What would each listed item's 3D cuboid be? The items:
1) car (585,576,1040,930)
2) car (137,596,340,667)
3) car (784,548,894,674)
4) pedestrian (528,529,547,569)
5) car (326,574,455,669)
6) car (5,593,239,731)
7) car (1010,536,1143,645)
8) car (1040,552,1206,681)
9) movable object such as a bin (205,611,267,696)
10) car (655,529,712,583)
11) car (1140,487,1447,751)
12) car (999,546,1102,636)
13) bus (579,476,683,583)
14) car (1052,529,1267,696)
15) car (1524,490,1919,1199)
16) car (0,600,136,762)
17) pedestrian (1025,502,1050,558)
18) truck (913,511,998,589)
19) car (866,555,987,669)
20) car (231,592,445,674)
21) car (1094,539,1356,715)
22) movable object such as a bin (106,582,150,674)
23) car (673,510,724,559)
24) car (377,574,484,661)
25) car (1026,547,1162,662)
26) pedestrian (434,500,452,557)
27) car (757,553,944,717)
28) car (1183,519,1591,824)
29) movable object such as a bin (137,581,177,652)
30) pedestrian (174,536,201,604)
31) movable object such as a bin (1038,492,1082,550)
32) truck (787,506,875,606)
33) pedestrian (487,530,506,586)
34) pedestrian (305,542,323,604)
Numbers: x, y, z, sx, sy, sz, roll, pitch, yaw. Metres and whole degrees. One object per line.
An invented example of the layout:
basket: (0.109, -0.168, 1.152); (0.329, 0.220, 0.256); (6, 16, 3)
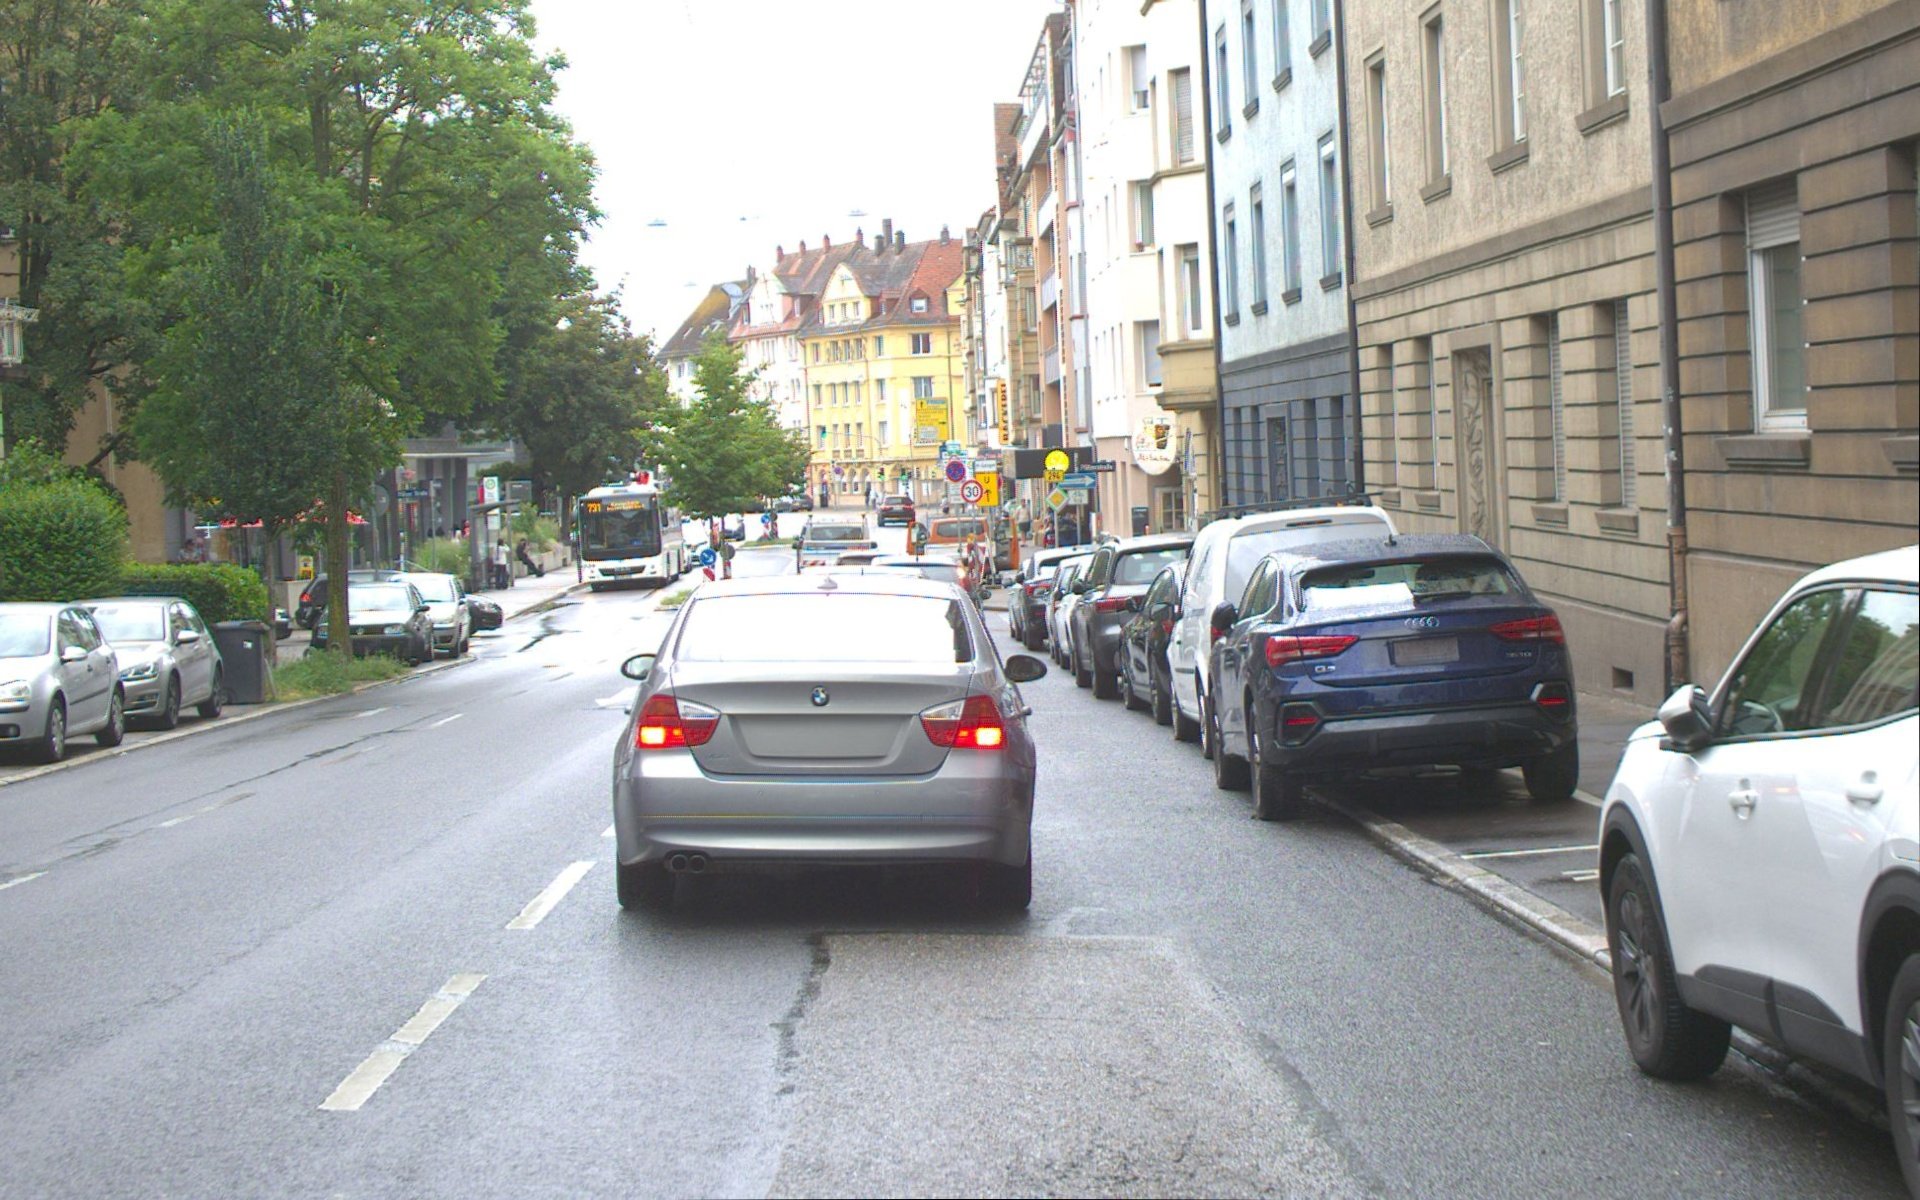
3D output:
car: (-0.613, 0.595, 14.971); (1.756, 1.358, 3.165); (-1, 0, -1)
car: (-14.740, 0.641, 70.338); (3.815, 1.385, 1.743); (-1, 0, -2)
car: (-2.051, 0.181, 57.441); (1.705, 2.007, 4.000); (1, 0, -4)
pedestrian: (-14.910, -1.804, 121.333); (0.619, 1.373, 0.544); (1, 0, 0)
car: (-9.547, 0.339, 57.856); (1.653, 1.449, 3.943); (-2, 1, -3)
car: (-9.350, 0.658, 38.615); (1.682, 1.385, 3.936); (-1, 1, -1)
car: (1.821, -0.180, 54.841); (1.818, 1.552, 4.293); (-4, 1, -1)
car: (2.050, 0.177, 44.257); (1.729, 1.424, 3.974); (-5, 1, -2)
movable object such as a bin: (-9.196, 0.675, 43.683); (0.630, 1.054, 0.600); (-2, 0, -1)
car: (-10.594, -1.664, 131.878); (1.993, 2.007, 4.000); (0, 0, -2)
car: (2.526, 0.102, 26.955); (1.790, 1.811, 4.080); (-4, 1, -2)
car: (1.590, -0.189, 61.515); (1.569, 1.459, 4.089); (-4, 1, -1)
bus: (-10.581, -2.201, 111.428); (2.681, 3.190, 11.957); (1, 0, -2)
car: (2.108, 0.116, 37.505); (1.840, 1.615, 4.208); (-3, 1, -2)
car: (2.762, 0.525, 8.765); (1.632, 1.633, 4.196); (-5, 1, -3)
car: (-9.133, 0.736, 32.679); (1.682, 1.385, 3.909); (-1, 1, -1)
pedestrian: (2.326, -2.103, 103.103); (0.750, 1.655, 0.754); (1, 0, 2)
truck: (-0.163, -1.414, 98.382); (2.215, 2.109, 4.652); (2, 0, -2)
car: (-0.395, 0.143, 43.036); (1.435, 1.352, 3.762); (1, 0, 0)
car: (-12.207, 0.644, 67.583); (3.816, 1.385, 1.743); (-2, 2, 1)
car: (2.397, 0.208, 32.183); (1.840, 1.404, 4.388); (-4, 1, -2)
movable object such as a bin: (-12.096, 0.402, 49.986); (0.439, 1.304, 0.650); (-2, 1, -2)
car: (-11.222, -2.802, 147.684); (1.993, 2.007, 4.000); (1, 0, -2)
car: (-9.593, 0.292, 62.458); (1.631, 1.449, 3.840); (-2, 1, -5)
car: (1.856, 0.034, 48.601); (1.583, 1.424, 3.595); (-5, 1, -2)
pedestrian: (-16.372, -2.270, 108.844); (0.542, 1.784, 0.508); (1, 0, -10)
car: (-1.052, 0.306, 31.720); (1.601, 1.415, 3.288); (1, 0, -4)
car: (2.452, 0.349, 20.721); (1.790, 1.543, 4.226); (-4, 1, -1)
movable object such as a bin: (-12.053, 0.238, 51.636); (0.426, 1.037, 0.650); (-2, 1, -2)
pedestrian: (-20.973, -0.830, 93.285); (0.633, 1.809, 0.638); (-2, 2, -11)
movable object such as a bin: (3.069, -2.427, 105.472); (1.122, 1.697, 1.434); (-3, 0, -4)
truck: (-3.381, -1.117, 89.907); (2.216, 2.535, 4.780); (1, 0, -2)
pedestrian: (-14.256, -1.298, 105.690); (0.542, 1.703, 0.466); (1, 0, -8)
pedestrian: (-18.676, -0.787, 99.343); (0.464, 1.784, 0.545); (1, 0, -8)
